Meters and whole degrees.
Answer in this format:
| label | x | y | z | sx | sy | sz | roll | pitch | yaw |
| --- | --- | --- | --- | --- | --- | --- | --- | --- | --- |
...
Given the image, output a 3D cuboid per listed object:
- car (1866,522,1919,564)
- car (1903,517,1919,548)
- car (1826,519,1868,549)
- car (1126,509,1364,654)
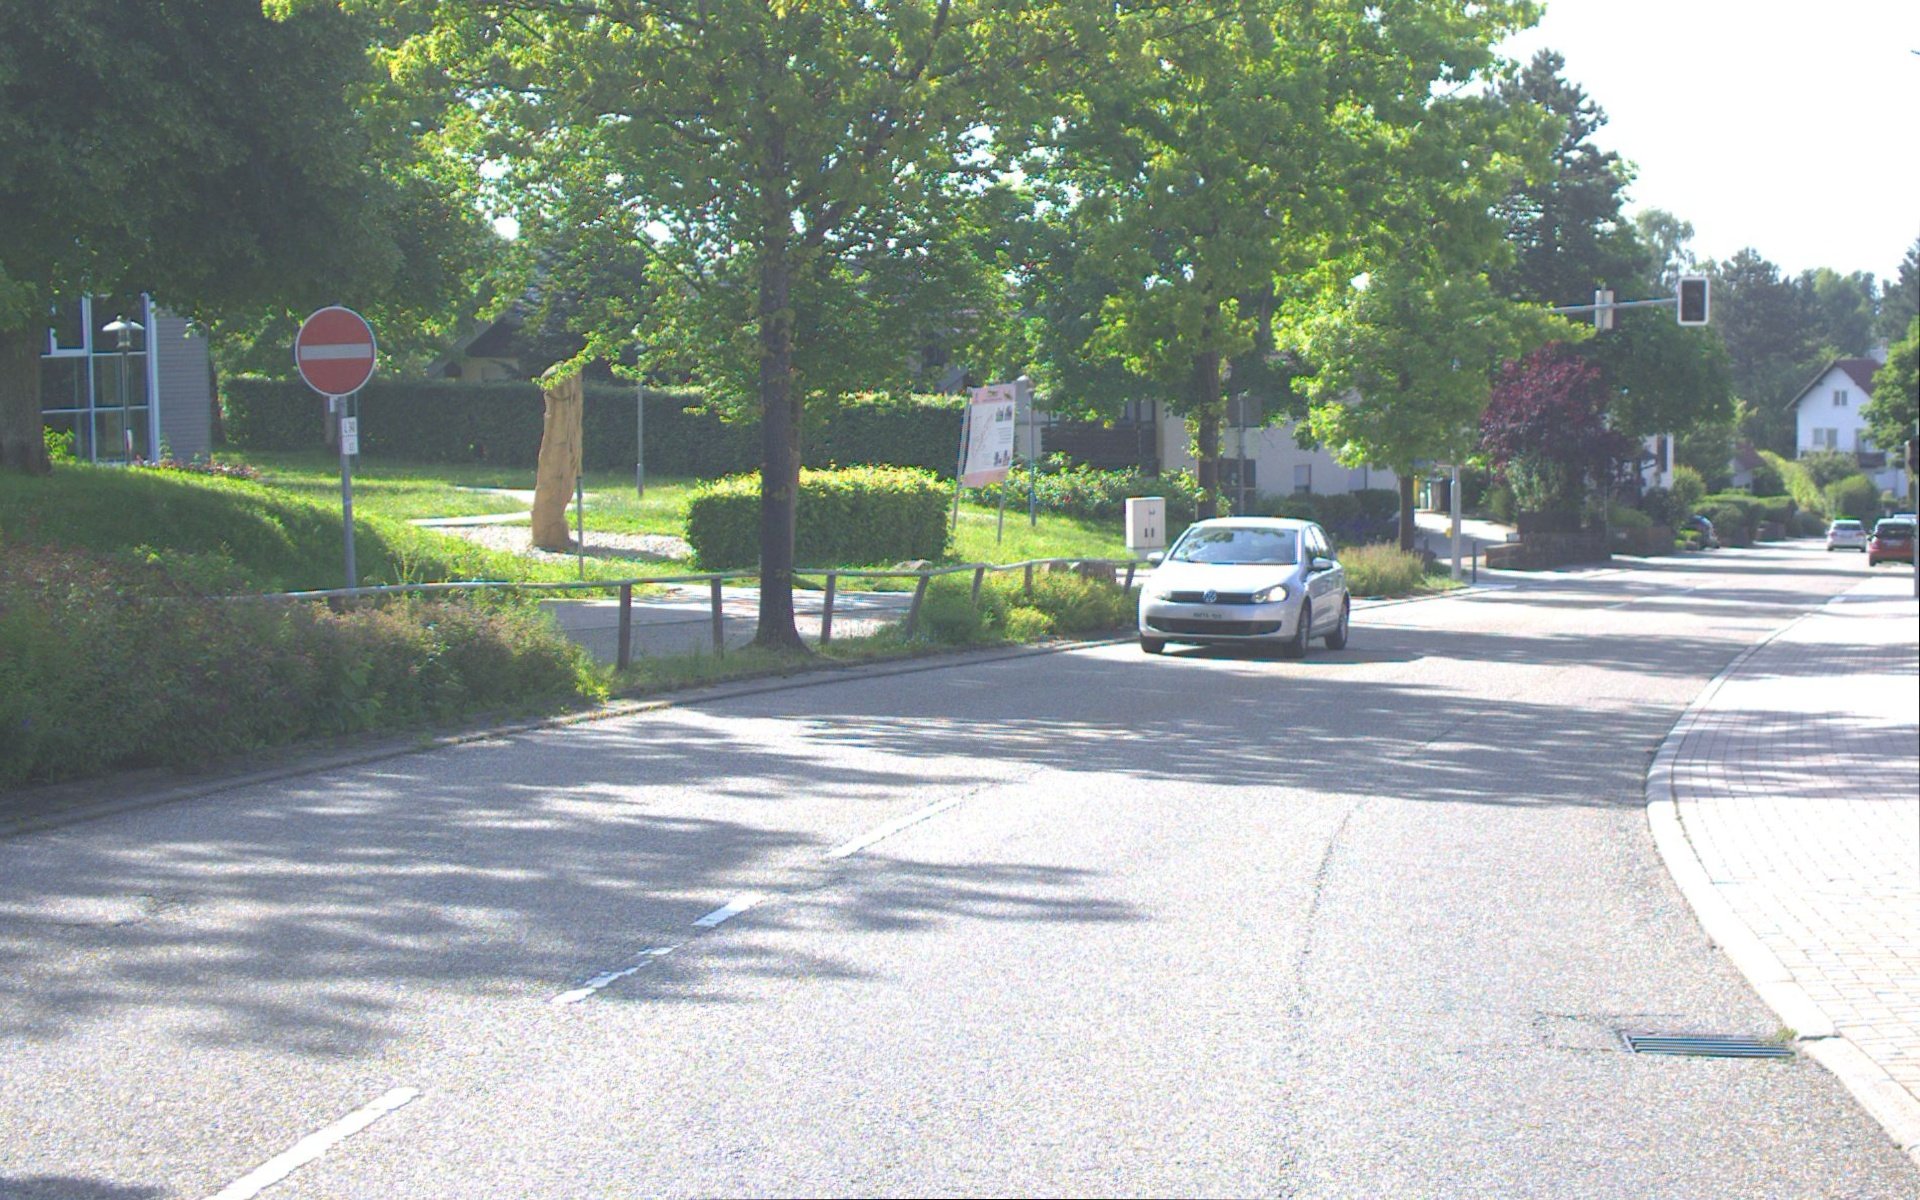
| label | x | y | z | sx | sy | sz | roll | pitch | yaw |
| --- | --- | --- | --- | --- | --- | --- | --- | --- | --- |
| car | 32.869 | -2.020 | 121.247 | 1.709 | 1.422 | 4.005 | 1 | 2 | 14 |
| car | 45.357 | -3.184 | 161.911 | 1.709 | 1.422 | 4.005 | 1 | 2 | 14 |
| car | 42.993 | -3.206 | 166.586 | 1.709 | 1.422 | 4.004 | 1 | 2 | 18 |
| car | 3.168 | -0.246 | 37.517 | 1.730 | 1.438 | 4.062 | 2 | 2 | 17 |
